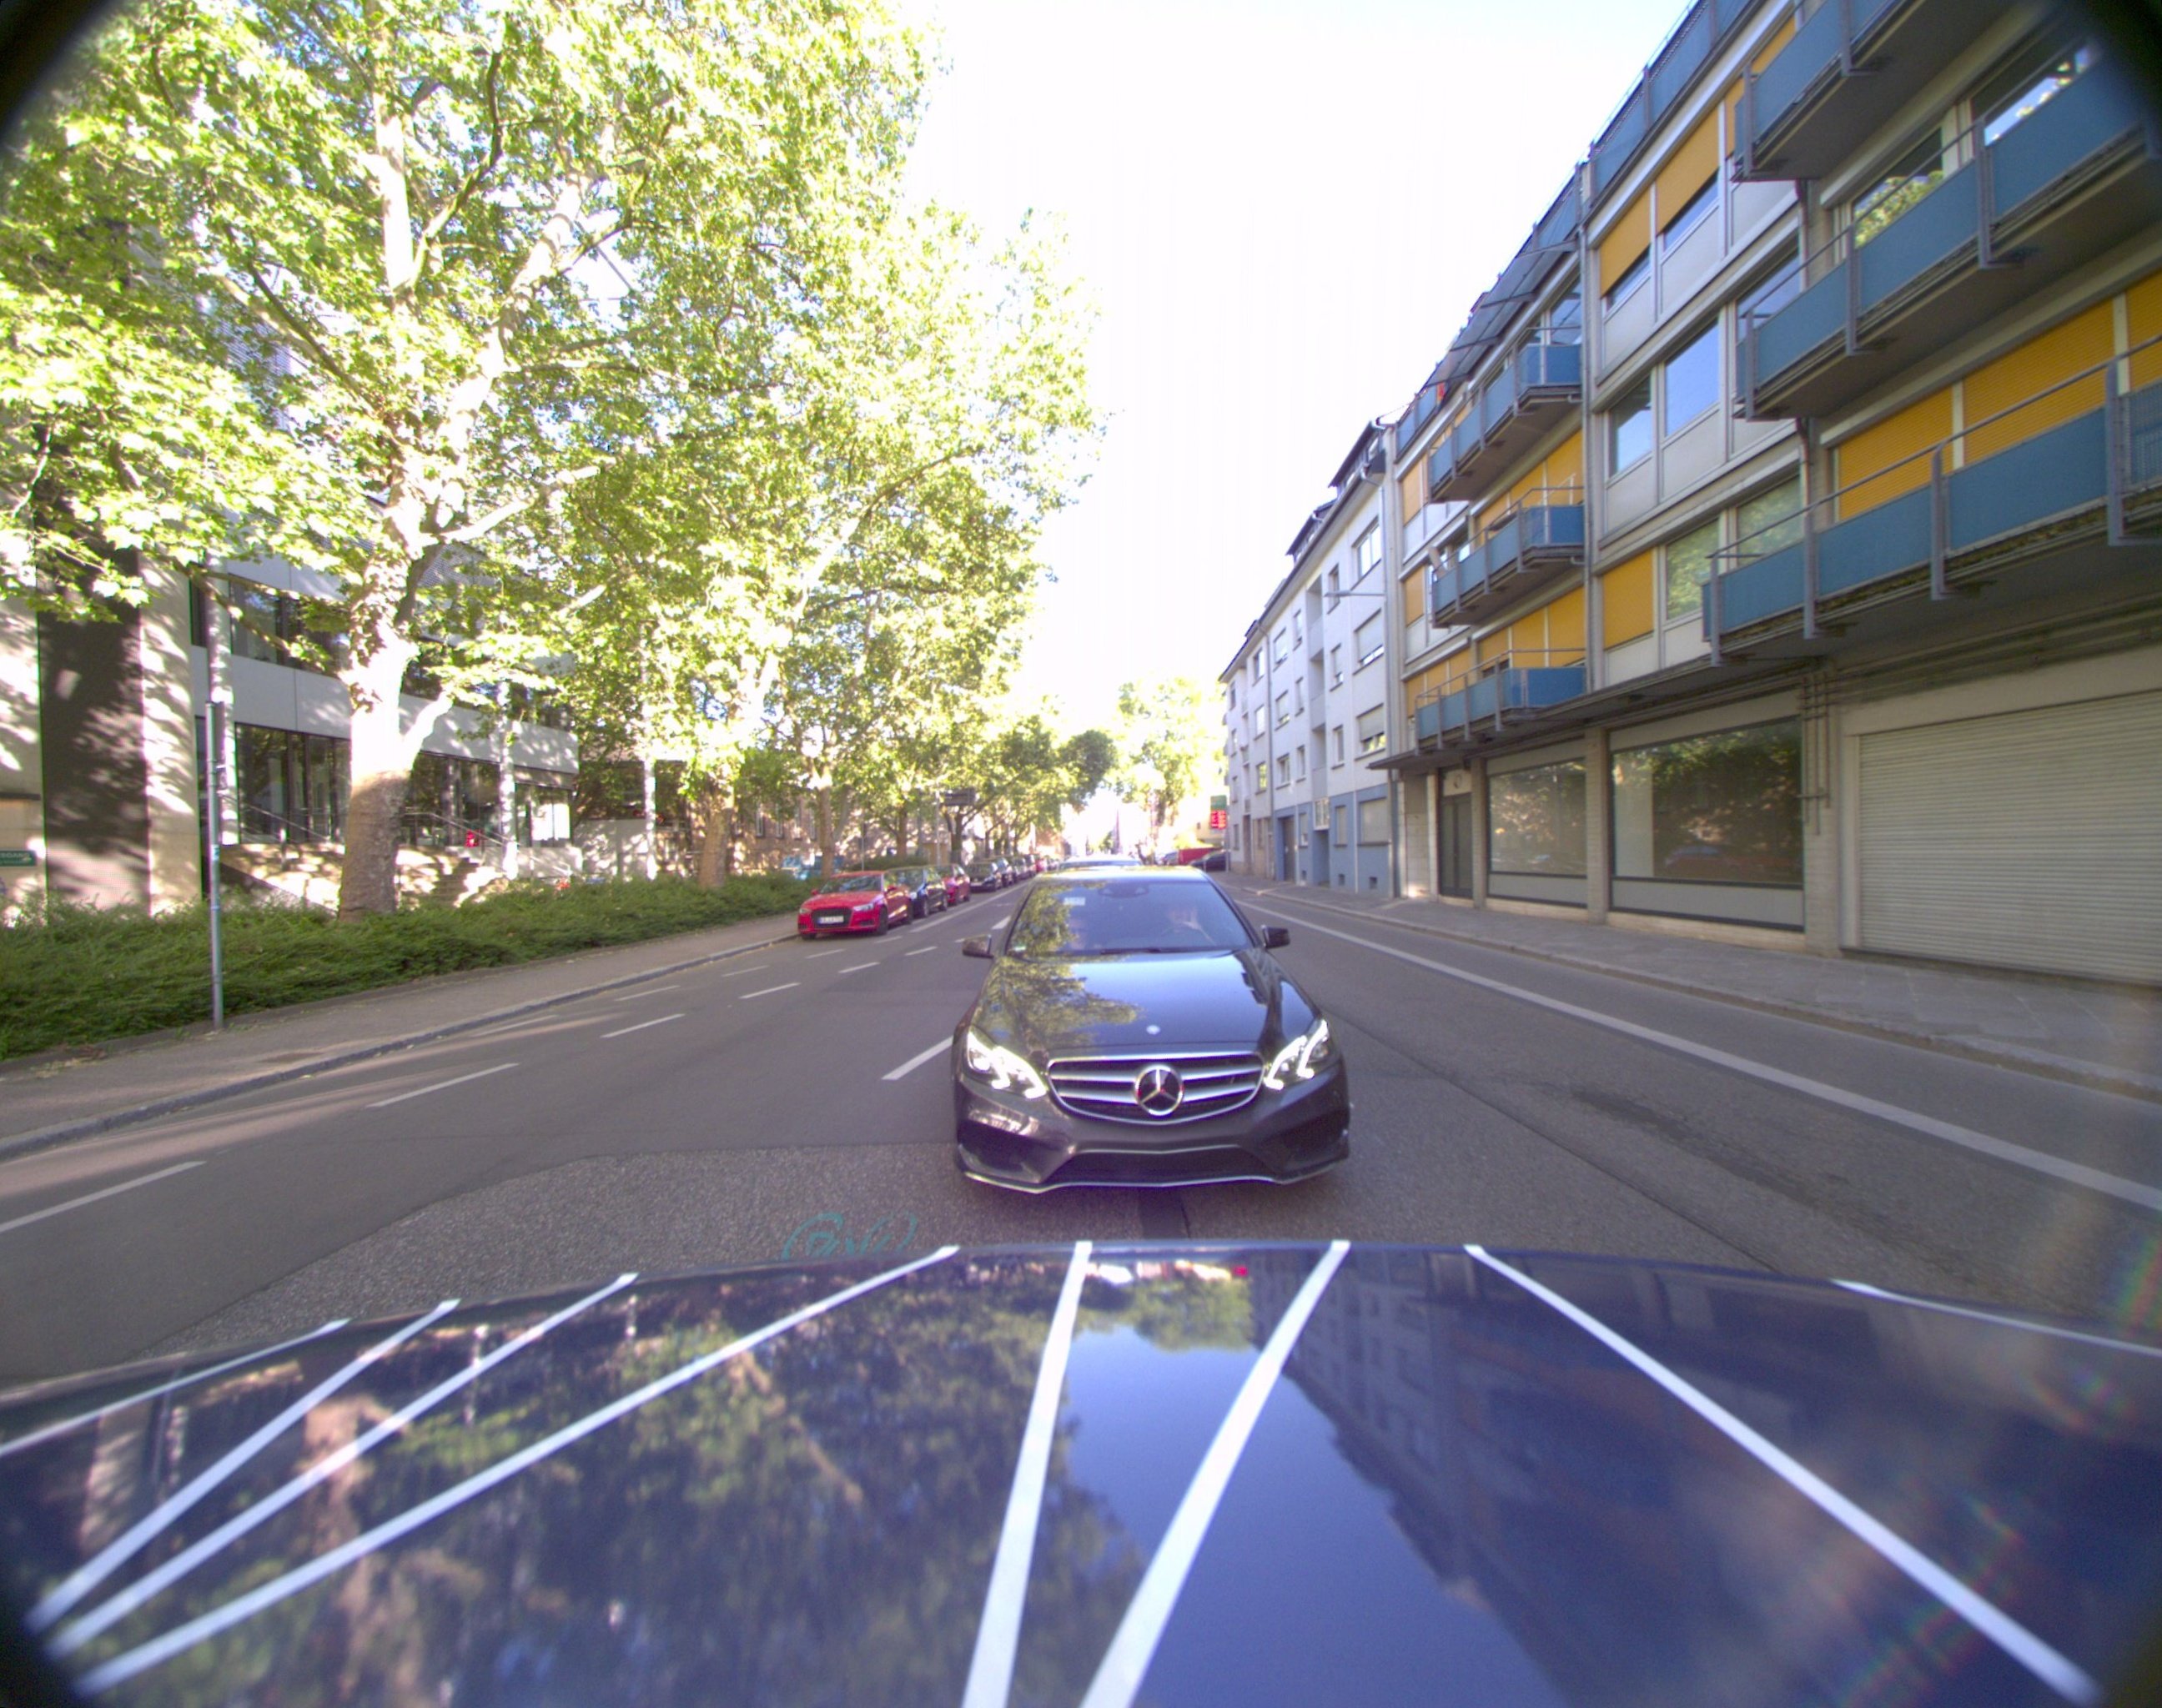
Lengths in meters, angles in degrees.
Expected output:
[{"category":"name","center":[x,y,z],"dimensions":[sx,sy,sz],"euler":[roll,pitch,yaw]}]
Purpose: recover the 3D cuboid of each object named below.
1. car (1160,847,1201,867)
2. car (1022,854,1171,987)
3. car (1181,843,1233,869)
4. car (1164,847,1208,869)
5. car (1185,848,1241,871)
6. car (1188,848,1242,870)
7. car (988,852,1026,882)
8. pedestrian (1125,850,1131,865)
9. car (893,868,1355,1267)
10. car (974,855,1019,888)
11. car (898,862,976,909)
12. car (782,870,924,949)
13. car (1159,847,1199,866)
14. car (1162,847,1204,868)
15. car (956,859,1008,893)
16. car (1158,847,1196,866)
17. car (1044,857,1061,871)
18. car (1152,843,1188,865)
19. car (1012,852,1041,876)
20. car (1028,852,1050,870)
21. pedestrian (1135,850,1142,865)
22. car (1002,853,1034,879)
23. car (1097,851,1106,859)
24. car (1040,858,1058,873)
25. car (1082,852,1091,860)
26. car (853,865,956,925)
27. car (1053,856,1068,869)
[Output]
[{"category":"car","center":[10.471,0.304,79.973],"dimensions":[3.996,1.936,2.000],"euler":[-2,1,2]},{"category":"car","center":[0.229,0.856,11.907],"dimensions":[1.866,1.630,4.303],"euler":[-2,0,1]},{"category":"car","center":[10.557,0.151,64.000],"dimensions":[3.996,1.936,2.000],"euler":[-2,1,2]},{"category":"car","center":[10.258,0.374,74.481],"dimensions":[3.996,1.936,2.000],"euler":[-2,1,2]},{"category":"car","center":[10.183,0.420,58.847],"dimensions":[3.996,1.543,2.000],"euler":[-2,1,2]},{"category":"car","center":[10.724,0.373,61.169],"dimensions":[3.996,1.543,2.000],"euler":[-2,1,2]},{"category":"car","center":[-4.625,0.781,48.111],"dimensions":[1.866,1.749,4.481],"euler":[-2,0,1]},{"category":"pedestrian","center":[6.706,0.495,107.621],"dimensions":[0.735,2.002,0.797],"euler":[-2,1,1]},{"category":"car","center":[0.209,0.931,5.384],"dimensions":[1.866,1.492,4.481],"euler":[-2,0,1]},{"category":"car","center":[-4.614,0.905,42.184],"dimensions":[1.866,1.658,4.481],"euler":[-2,0,1]},{"category":"car","center":[-5.082,1.063,27.403],"dimensions":[1.866,1.442,4.481],"euler":[-2,0,1]},{"category":"car","center":[-5.099,1.176,17.708],"dimensions":[1.866,1.442,4.481],"euler":[-2,0,1]},{"category":"car","center":[10.601,0.271,82.462],"dimensions":[3.996,1.936,2.000],"euler":[-2,1,2]},{"category":"car","center":[10.342,0.341,77.123],"dimensions":[3.996,1.936,2.000],"euler":[-2,1,2]},{"category":"car","center":[-4.749,1.022,37.149],"dimensions":[1.866,1.442,4.481],"euler":[-2,0,1]},{"category":"car","center":[10.746,0.238,84.956],"dimensions":[3.996,1.936,2.000],"euler":[-2,1,2]},{"category":"car","center":[-3.643,1.233,96.761],"dimensions":[1.866,1.632,4.481],"euler":[-2,0,1]},{"category":"car","center":[10.501,-0.001,89.483],"dimensions":[3.996,2.505,2.000],"euler":[-2,1,2]},{"category":"car","center":[-4.237,0.753,59.733],"dimensions":[1.866,1.749,4.481],"euler":[-2,0,1]},{"category":"car","center":[-4.188,0.701,76.256],"dimensions":[1.866,1.632,4.481],"euler":[-2,0,1]},{"category":"pedestrian","center":[8.199,0.504,108.273],"dimensions":[0.735,2.002,1.046],"euler":[-2,1,0]},{"category":"car","center":[-4.494,0.816,54.777],"dimensions":[1.866,1.749,4.481],"euler":[-2,0,1]},{"category":"car","center":[4.247,0.251,157.473],"dimensions":[1.866,1.632,4.481],"euler":[-2,0,1]},{"category":"car","center":[-3.753,1.318,89.962],"dimensions":[1.866,1.632,4.481],"euler":[-2,0,1]},{"category":"car","center":[1.168,0.363,160.890],"dimensions":[1.866,1.632,4.481],"euler":[-2,0,1]},{"category":"car","center":[-5.038,1.122,22.359],"dimensions":[1.866,1.442,4.481],"euler":[-2,0,1]},{"category":"car","center":[-2.810,1.108,105.168],"dimensions":[1.866,1.632,4.481],"euler":[-2,0,1]}]
